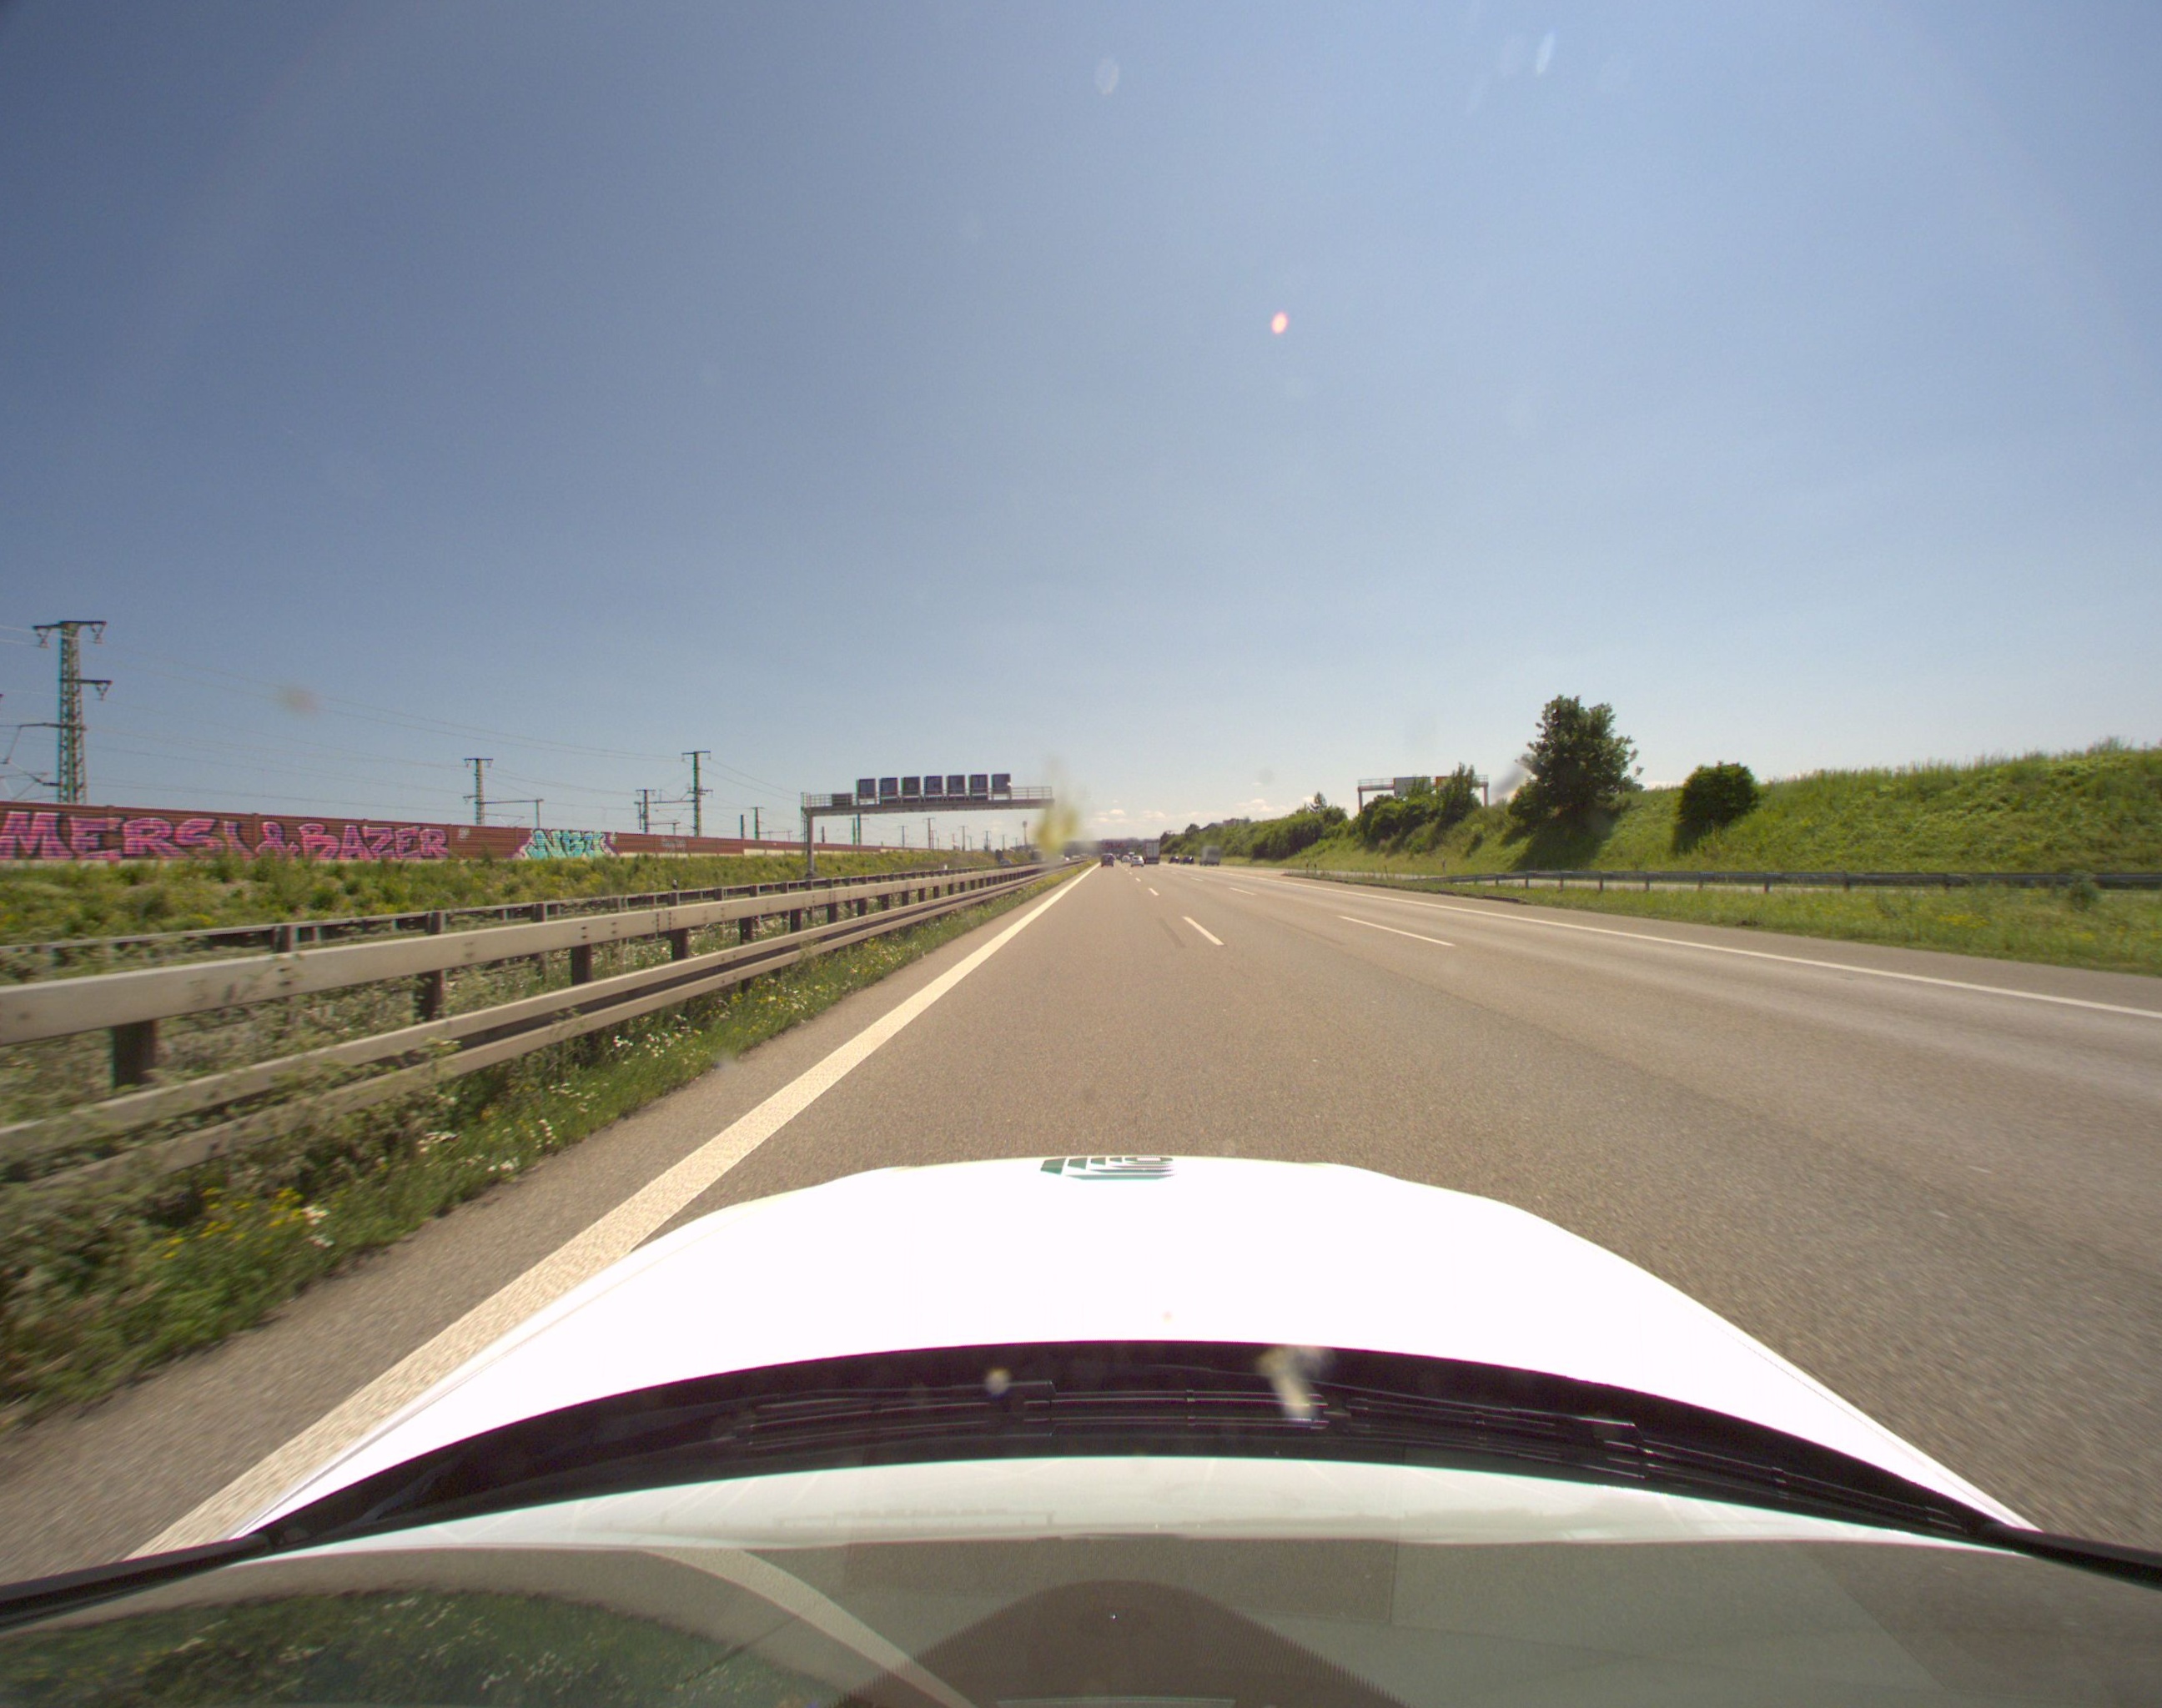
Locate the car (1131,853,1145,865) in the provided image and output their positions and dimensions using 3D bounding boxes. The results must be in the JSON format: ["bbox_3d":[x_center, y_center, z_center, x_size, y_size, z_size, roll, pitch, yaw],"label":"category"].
[{"bbox_3d":[7.849,0.667,111.605,1.872,1.526,4.005,0,-1,5],"label":"car"}]

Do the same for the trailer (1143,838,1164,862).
[{"bbox_3d":[12.901,-0.620,146.219,3.165,4.059,9.444,-2,0,2],"label":"trailer"}]

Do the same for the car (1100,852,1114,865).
[{"bbox_3d":[3.720,0.645,114.525,1.873,1.775,4.002,-2,-1,2],"label":"car"}]

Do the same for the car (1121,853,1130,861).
[{"bbox_3d":[9.713,0.693,178.736,1.873,1.526,4.003,0,-1,3],"label":"car"}]

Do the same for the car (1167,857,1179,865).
[{"bbox_3d":[17.510,1.358,155.704,1.986,1.596,4.001,0,-2,1],"label":"car"}]

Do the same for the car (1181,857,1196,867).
[{"bbox_3d":[17.885,1.298,135.589,1.987,1.508,3.998,1,-2,0],"label":"car"}]

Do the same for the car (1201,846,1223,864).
[{"bbox_3d":[18.780,0.135,116.897,2.266,2.528,5.400,-1,0,1],"label":"car"}]

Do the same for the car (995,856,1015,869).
[{"bbox_3d":[-9.238,1.028,99.211,1.797,1.574,4.002,-1,0,2],"label":"car"}]

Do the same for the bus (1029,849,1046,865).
[{"bbox_3d":[-9.938,0.698,186.965,2.846,3.645,10.945,0,0,2],"label":"bus"}]

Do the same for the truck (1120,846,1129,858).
[{"bbox_3d":[11.873,-0.522,221.450,2.346,3.416,6.060,-1,0,2],"label":"truck"}]
